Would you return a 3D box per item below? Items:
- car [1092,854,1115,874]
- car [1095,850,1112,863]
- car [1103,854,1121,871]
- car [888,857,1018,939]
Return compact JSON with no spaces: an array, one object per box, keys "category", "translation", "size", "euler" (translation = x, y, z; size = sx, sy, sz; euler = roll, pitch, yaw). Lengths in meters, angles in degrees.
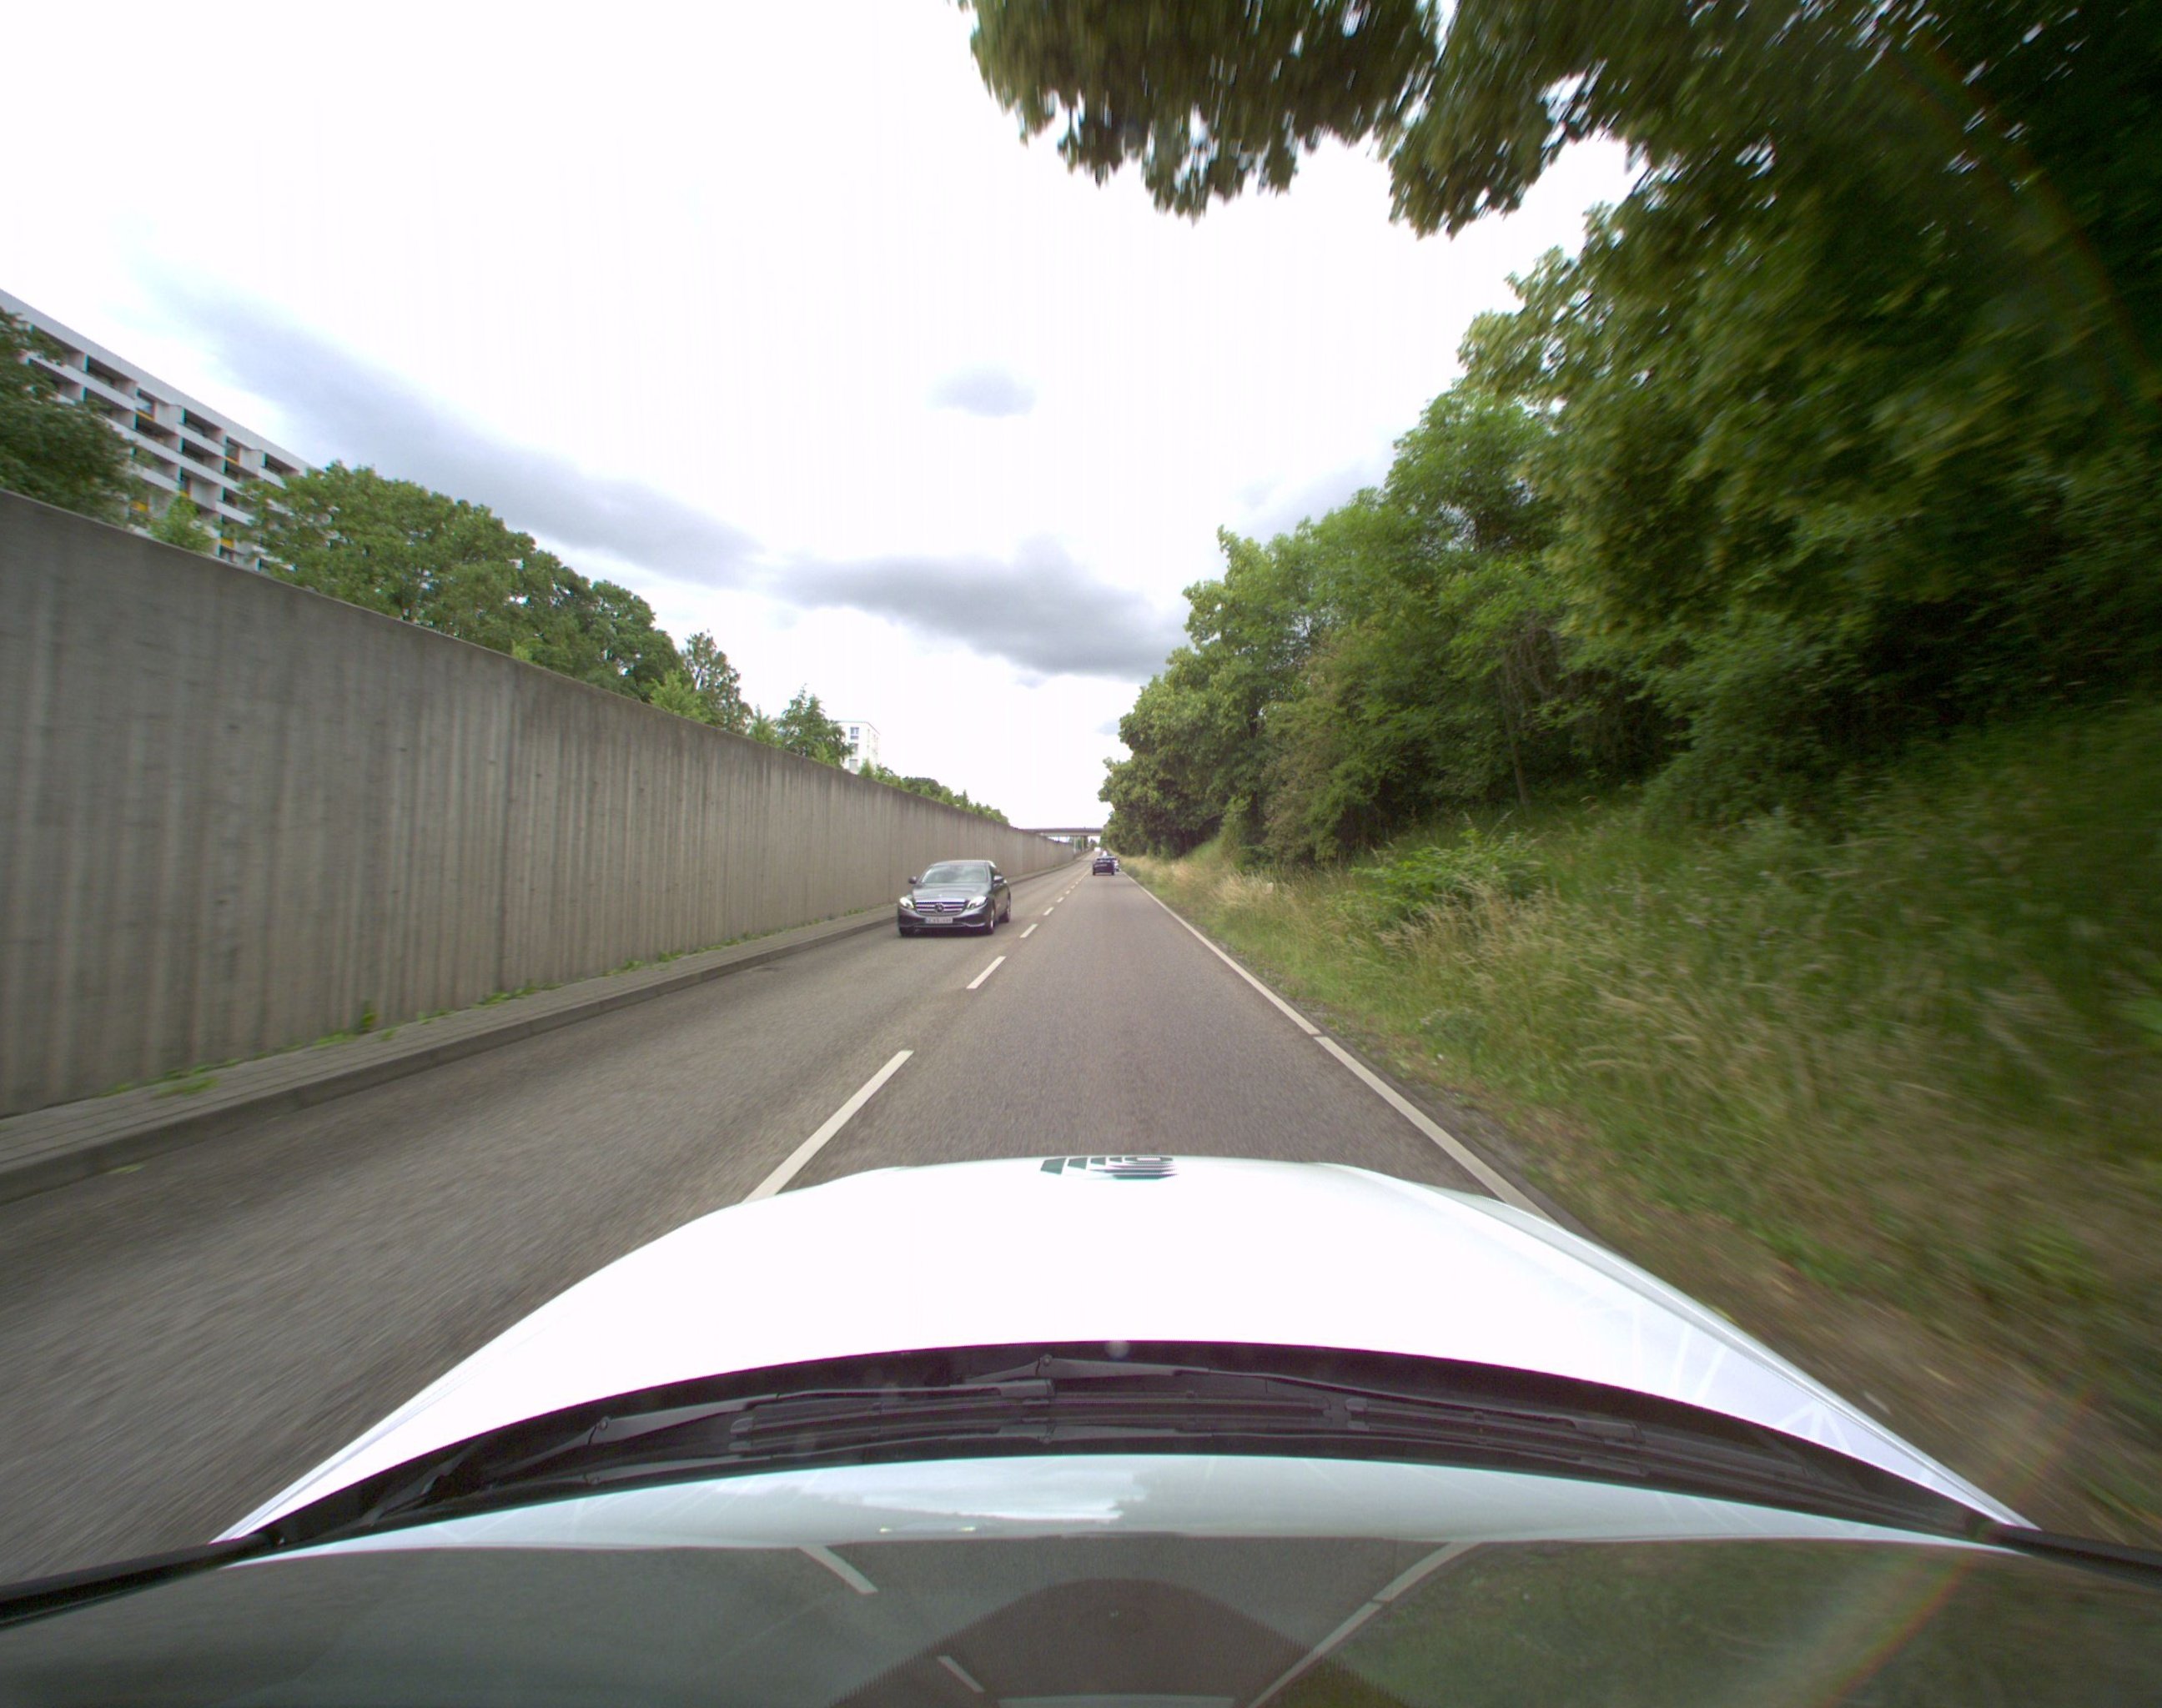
[{"category":"car","translation":[1.823,0.802,65.951],"size":[1.748,1.523,4.037],"euler":[-1,-2,1]},{"category":"car","translation":[2.737,0.284,100.371],"size":[1.861,1.490,4.256],"euler":[3,0,0]},{"category":"car","translation":[3.109,0.864,81.649],"size":[1.747,1.523,4.038],"euler":[-3,-2,2]},{"category":"car","translation":[-2.561,0.836,17.539],"size":[1.885,1.483,4.825],"euler":[-1,0,2]}]
